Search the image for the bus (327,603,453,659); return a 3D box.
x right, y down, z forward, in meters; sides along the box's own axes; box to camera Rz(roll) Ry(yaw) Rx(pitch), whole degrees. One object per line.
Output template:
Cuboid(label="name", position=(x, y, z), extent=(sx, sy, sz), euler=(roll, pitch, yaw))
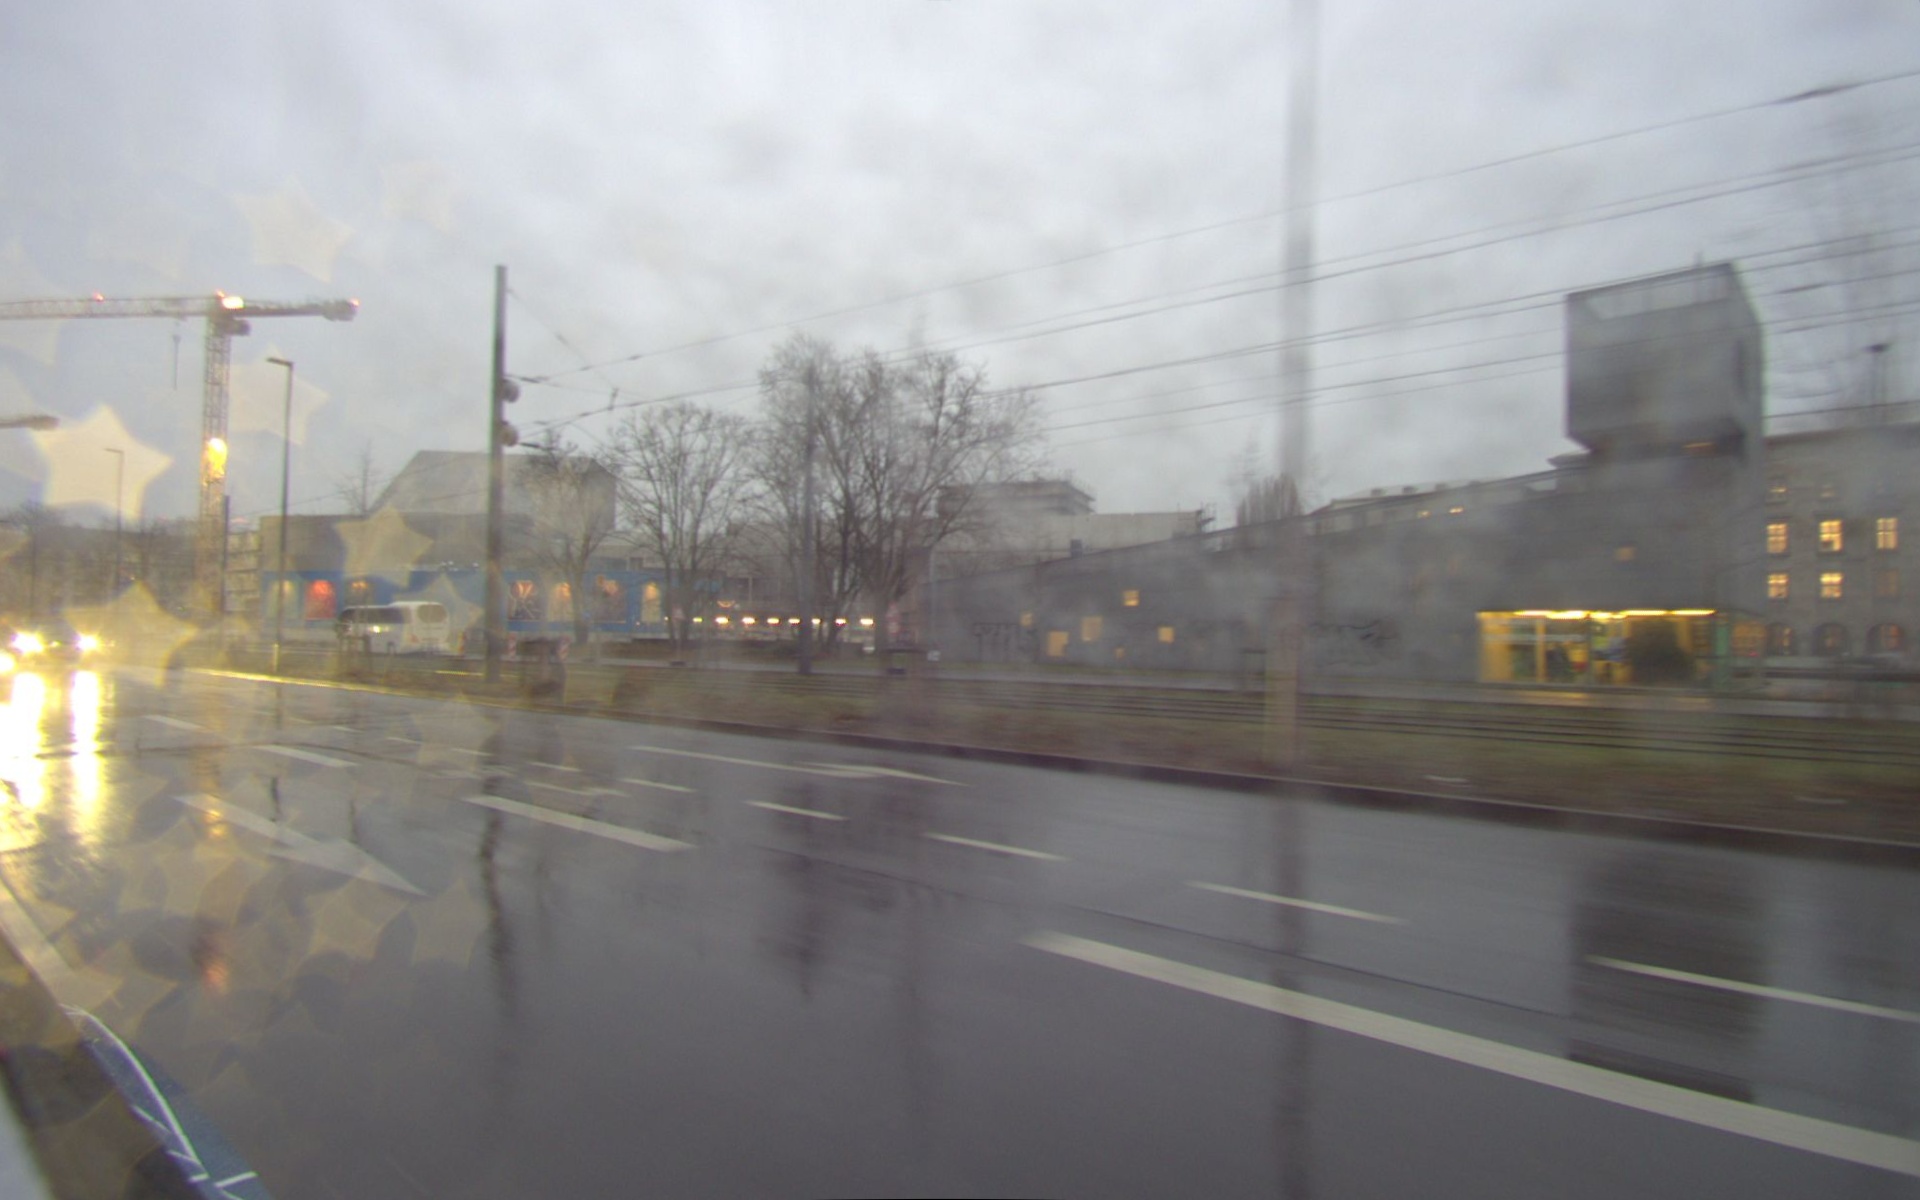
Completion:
Cuboid(label="bus", position=(-39.541, 2.145, 69.935), extent=(12.283, 3.605, 2.781), euler=(-1, -3, 37))

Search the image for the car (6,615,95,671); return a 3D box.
Cuboid(label="car", position=(-30.406, 1.422, 33.788), extent=(4.611, 1.756, 1.684), euler=(-1, -3, 42))

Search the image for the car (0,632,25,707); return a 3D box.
Cuboid(label="car", position=(-20.868, 1.386, 20.874), extent=(4.126, 1.486, 1.756), euler=(-1, -3, 40))
